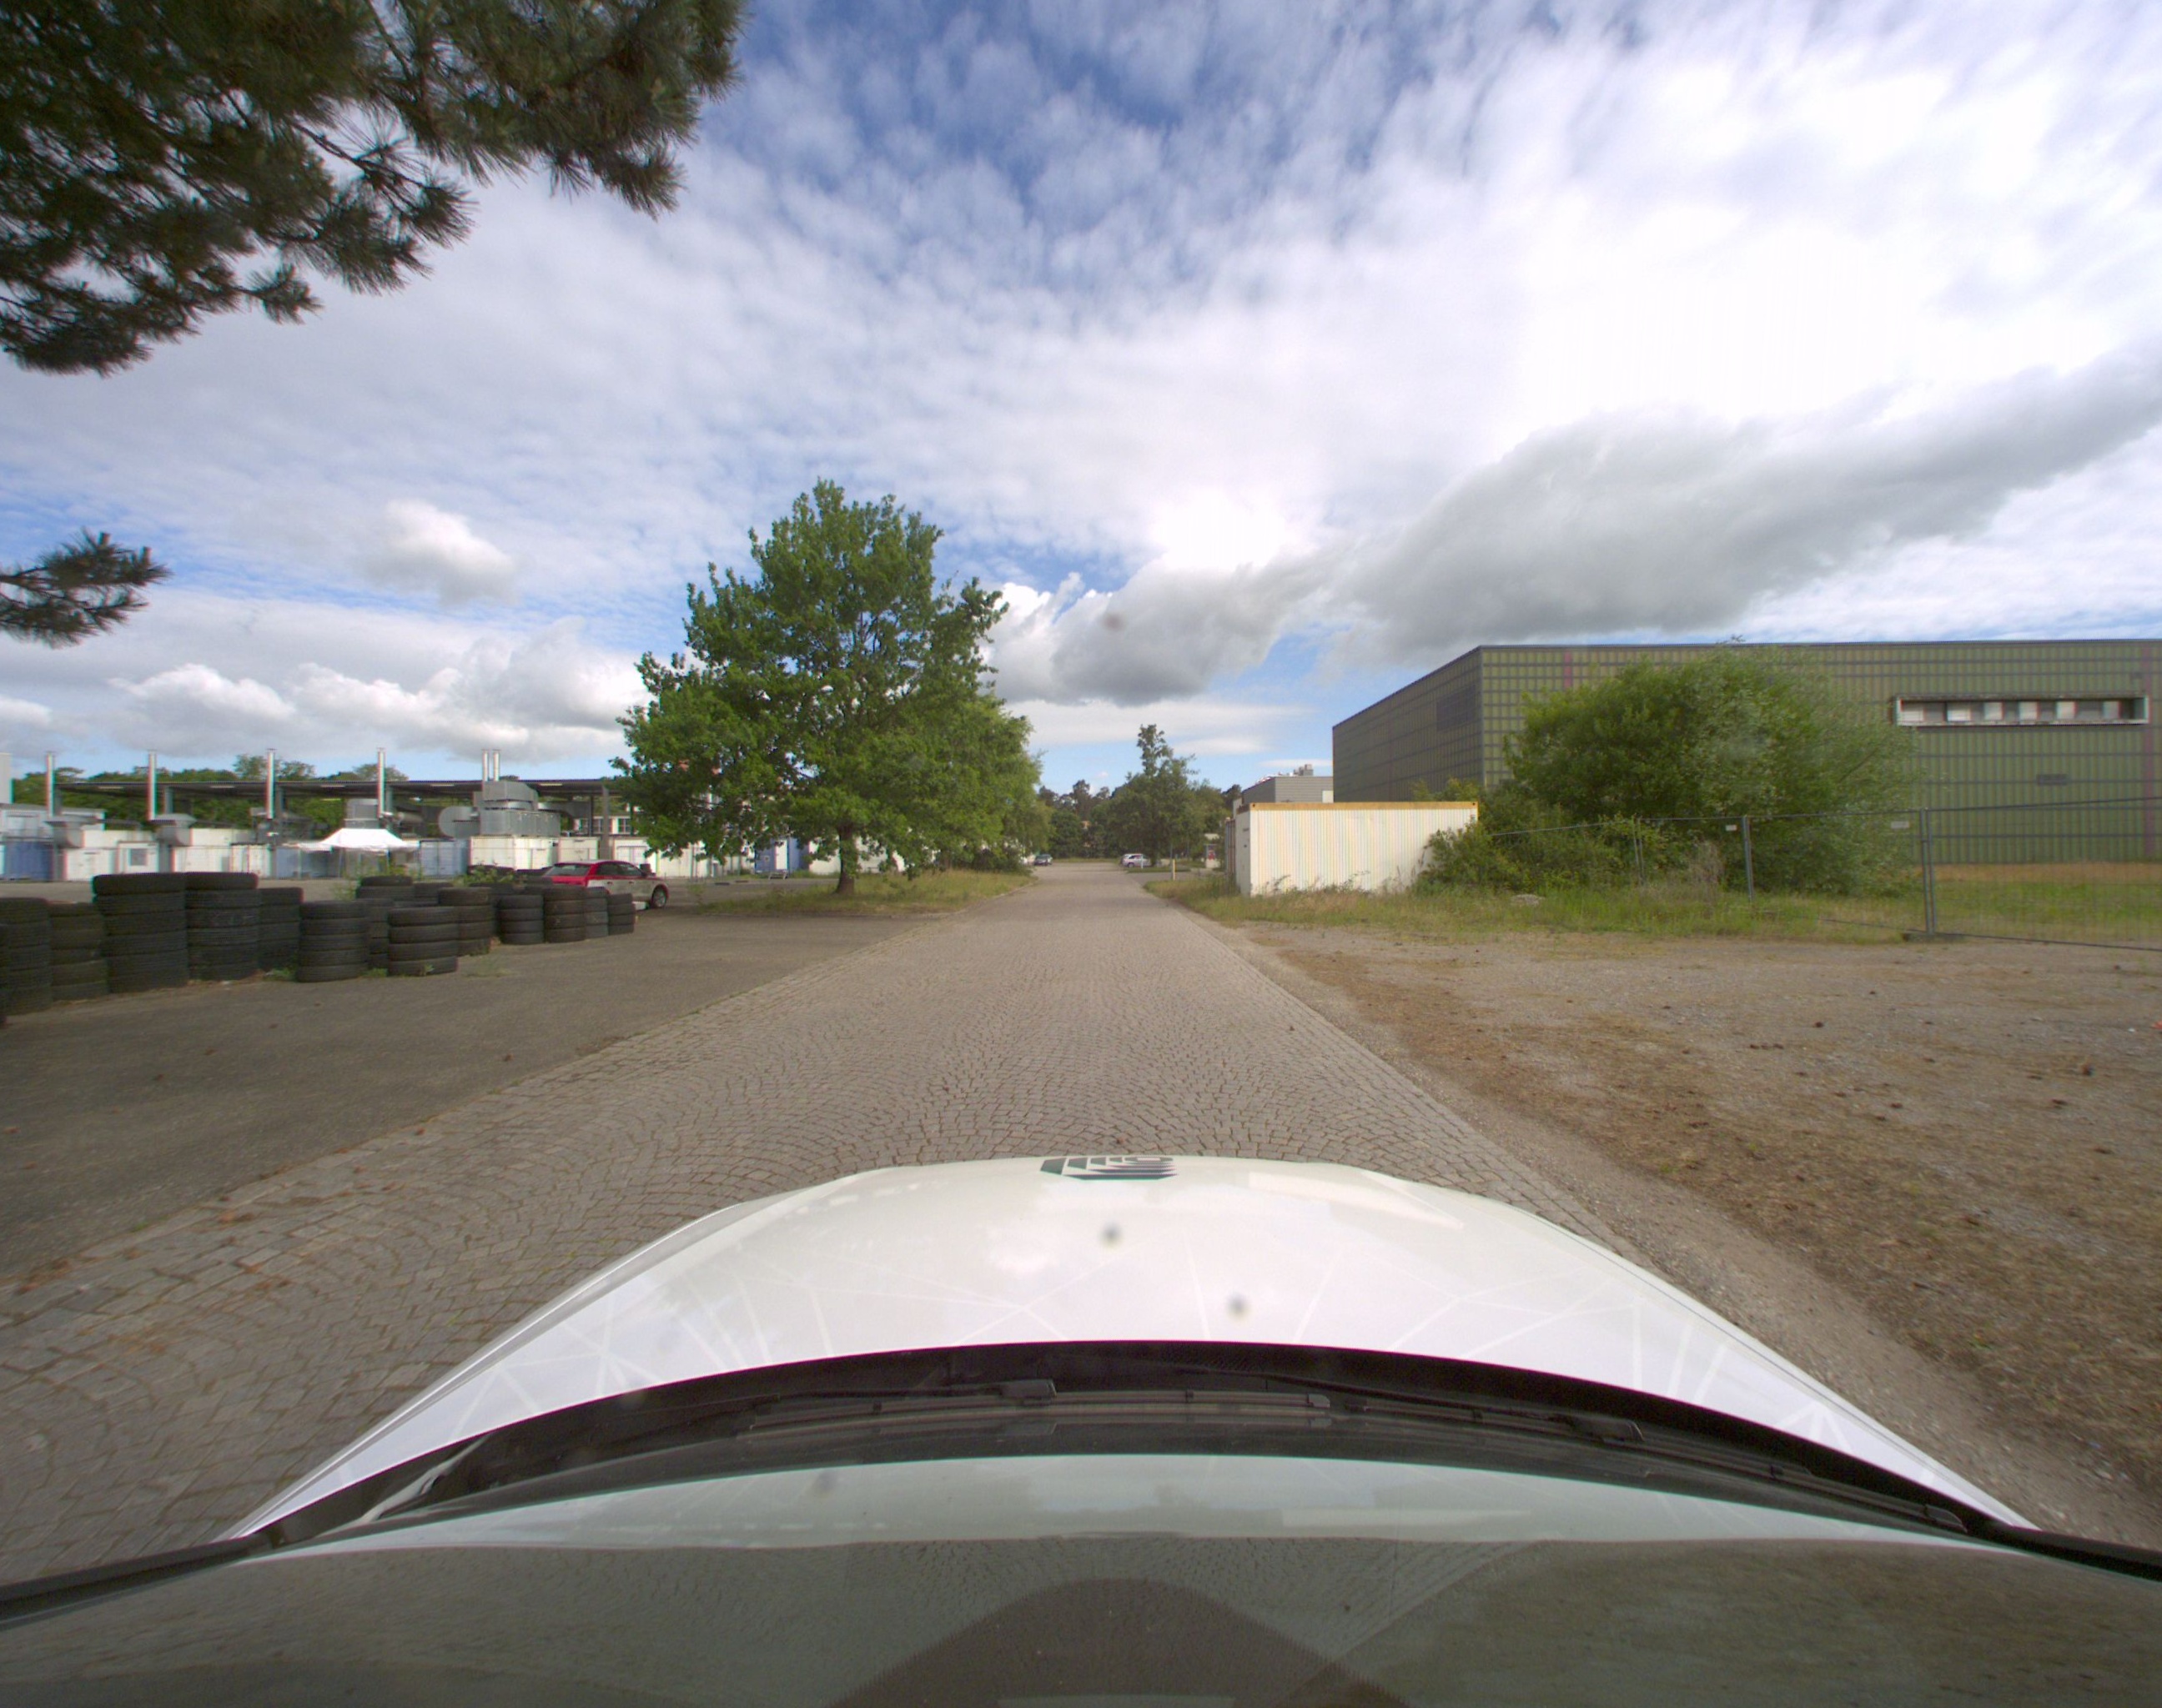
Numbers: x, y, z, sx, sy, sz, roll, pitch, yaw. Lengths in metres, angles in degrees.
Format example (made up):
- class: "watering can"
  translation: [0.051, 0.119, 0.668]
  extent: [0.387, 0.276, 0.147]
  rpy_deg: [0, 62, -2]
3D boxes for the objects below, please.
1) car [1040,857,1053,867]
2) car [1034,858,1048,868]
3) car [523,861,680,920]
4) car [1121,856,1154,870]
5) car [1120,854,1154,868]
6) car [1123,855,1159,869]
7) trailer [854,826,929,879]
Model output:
- class: "car"
  translation: [-5.241, 1.185, 122.900]
  extent: [1.642, 1.458, 3.999]
  rpy_deg: [0, 0, 1]
- class: "car"
  translation: [-5.575, 1.261, 112.557]
  extent: [1.642, 1.369, 3.999]
  rpy_deg: [0, 0, 1]
- class: "car"
  translation: [-13.217, 0.945, 22.767]
  extent: [1.617, 1.433, 4.071]
  rpy_deg: [-1, 0, 7]
- class: "car"
  translation: [6.306, 0.999, 90.866]
  extent: [3.509, 1.362, 1.623]
  rpy_deg: [-2, 0, 1]
- class: "car"
  translation: [6.775, 0.841, 98.691]
  extent: [3.970, 1.475, 1.654]
  rpy_deg: [-3, 0, 1]
- class: "car"
  translation: [6.904, 0.899, 93.556]
  extent: [3.970, 1.448, 1.654]
  rpy_deg: [-2, 0, 1]
- class: "trailer"
  translation: [-13.981, -0.064, 60.963]
  extent: [2.614, 3.598, 10.186]
  rpy_deg: [0, 0, 3]
